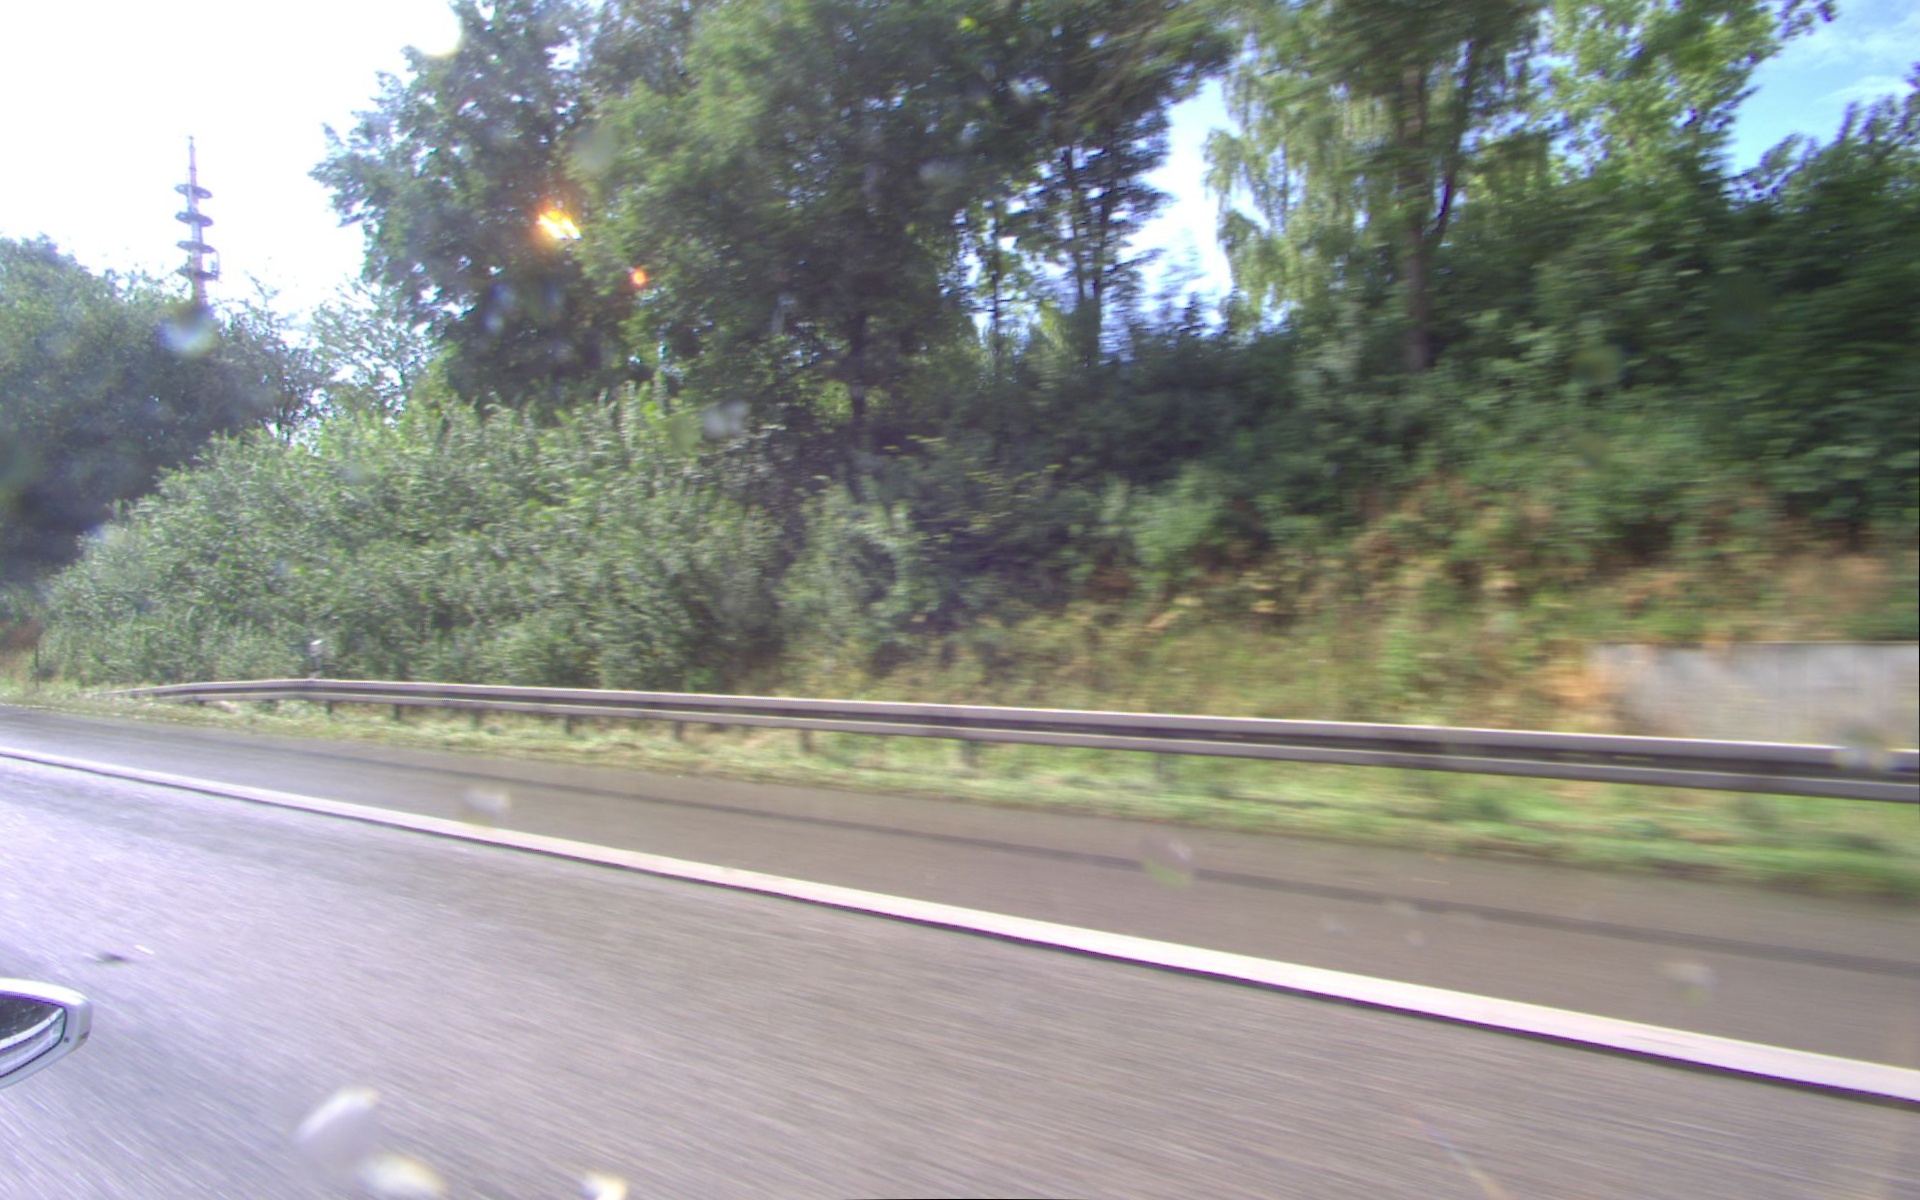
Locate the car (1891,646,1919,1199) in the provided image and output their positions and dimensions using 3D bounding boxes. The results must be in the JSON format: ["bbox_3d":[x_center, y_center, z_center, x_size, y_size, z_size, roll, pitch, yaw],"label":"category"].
[{"bbox_3d":[3.596,0.761,0.490,4.305,1.414,1.752,-1,-1,32],"label":"car"}]
